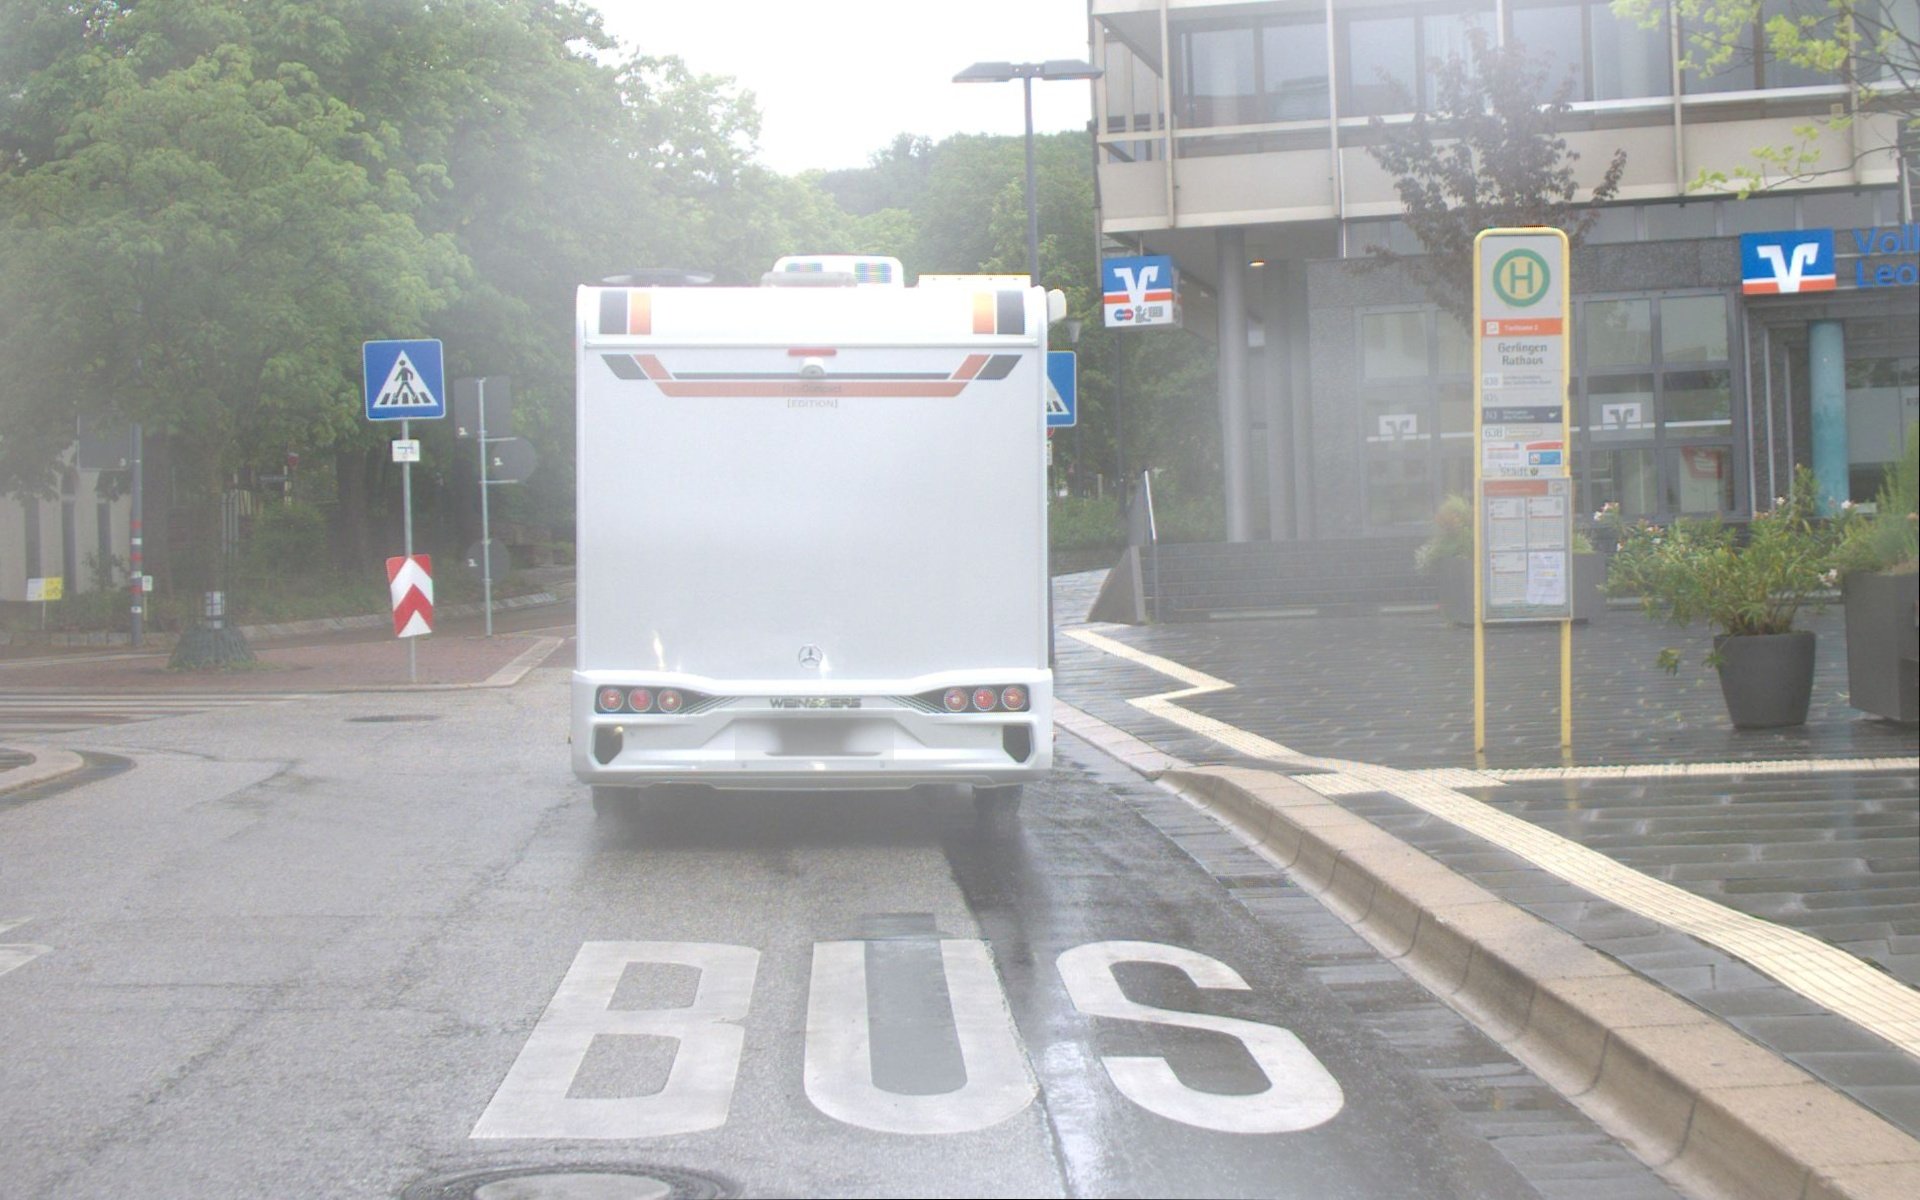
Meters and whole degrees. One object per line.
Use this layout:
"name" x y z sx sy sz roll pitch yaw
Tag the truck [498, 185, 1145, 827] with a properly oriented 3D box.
"truck" -0.789 -0.444 18.700 2.805 2.787 6.107 -3 0 -3
